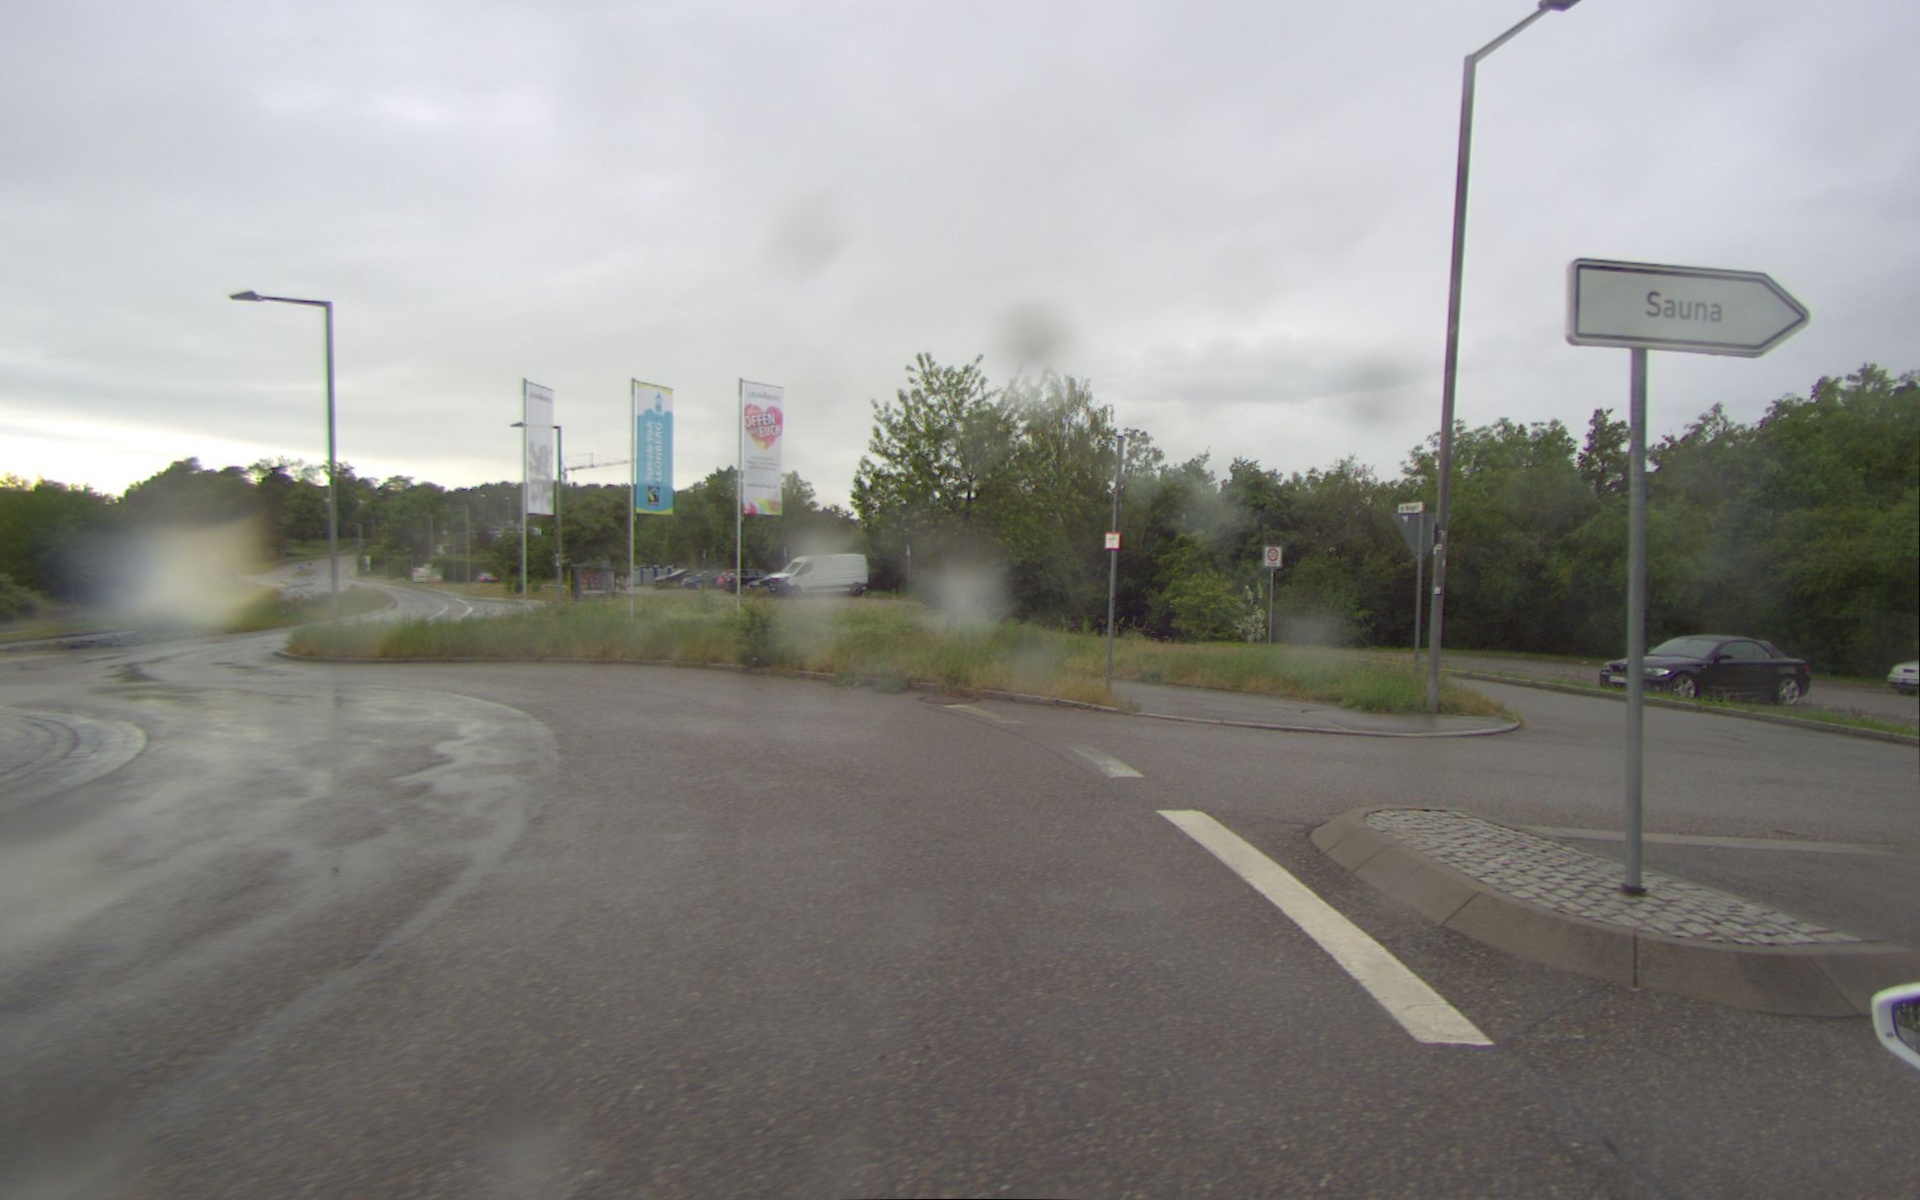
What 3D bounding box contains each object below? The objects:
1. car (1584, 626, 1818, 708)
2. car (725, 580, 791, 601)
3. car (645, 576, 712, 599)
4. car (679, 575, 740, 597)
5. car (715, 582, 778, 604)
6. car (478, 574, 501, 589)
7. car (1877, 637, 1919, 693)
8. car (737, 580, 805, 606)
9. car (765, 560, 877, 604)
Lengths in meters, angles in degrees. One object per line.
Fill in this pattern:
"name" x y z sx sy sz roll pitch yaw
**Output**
"car" 15.572 1.405 21.168 4.118 1.373 1.621 4 0 -13
"car" -13.470 -0.662 66.976 3.954 1.382 1.832 -1 2 -31
"car" -22.081 -0.953 78.883 4.671 1.716 1.986 0 1 -33
"car" -18.380 -1.027 73.646 3.953 1.382 1.884 -4 3 -31
"car" -14.918 -0.497 70.155 3.956 1.489 1.831 -1 2 -33
"car" -53.804 -2.141 114.847 1.678 1.589 4.500 -4 3 -33
"car" 26.085 1.742 25.771 4.049 1.373 1.604 3 1 -10
"car" -12.212 -0.459 64.846 3.955 1.382 1.639 4 -1 -31
"car" -8.337 -1.174 60.880 6.512 2.430 2.117 -3 4 -36
